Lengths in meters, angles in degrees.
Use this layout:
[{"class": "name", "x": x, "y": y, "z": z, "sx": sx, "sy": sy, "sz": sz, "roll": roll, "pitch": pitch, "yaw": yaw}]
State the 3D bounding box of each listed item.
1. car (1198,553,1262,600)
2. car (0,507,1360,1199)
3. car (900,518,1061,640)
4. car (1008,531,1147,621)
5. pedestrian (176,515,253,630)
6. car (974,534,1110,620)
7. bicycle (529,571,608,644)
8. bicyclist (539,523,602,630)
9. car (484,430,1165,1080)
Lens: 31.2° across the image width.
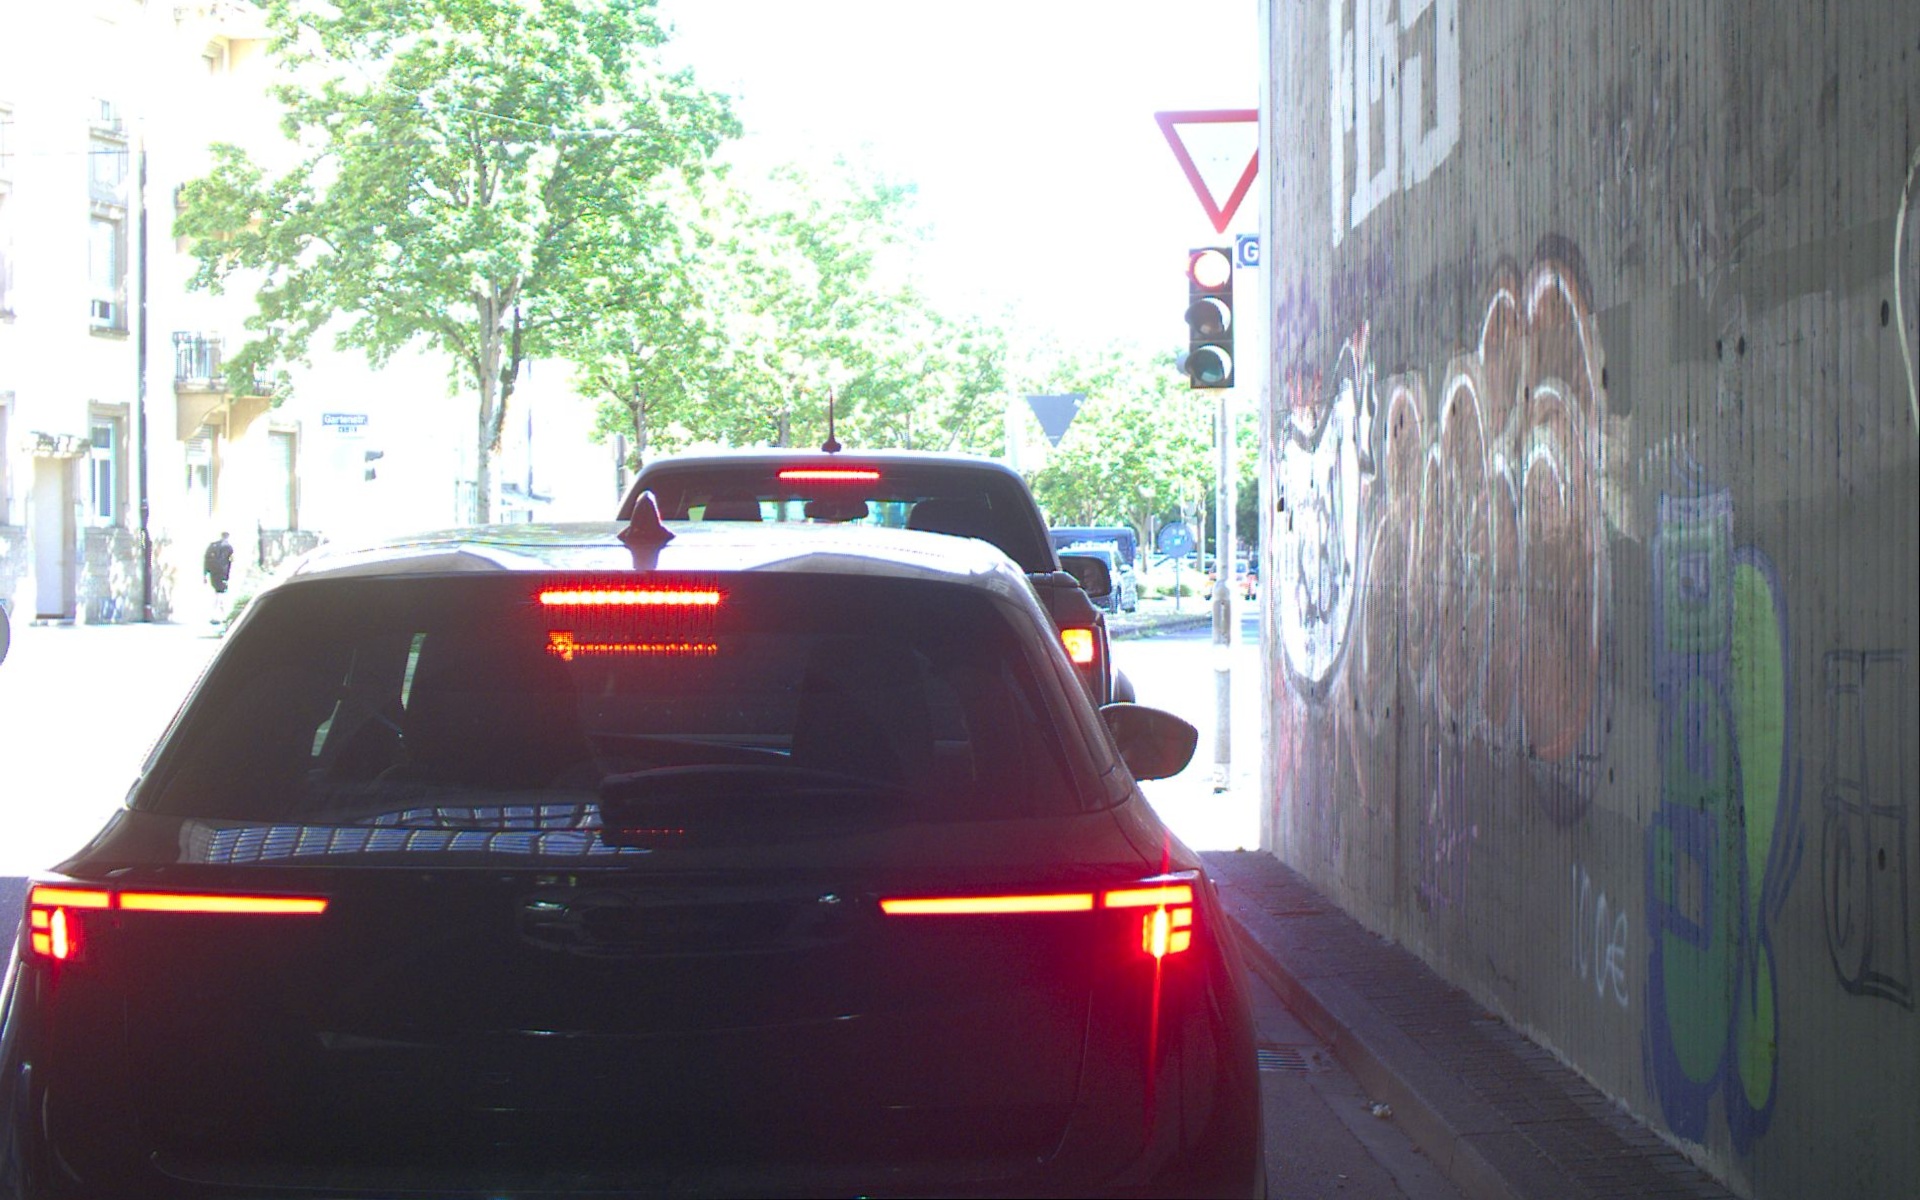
[{"class": "car", "x": 9.777, "y": -0.857, "z": 124.265, "sx": 1.994, "sy": 1.656, "sz": 3.999, "roll": 1, "pitch": 1, "yaw": 8}, {"class": "car", "x": -0.490, "y": 0.627, "z": 6.053, "sx": 1.882, "sy": 1.532, "sz": 3.964, "roll": 0, "pitch": 1, "yaw": -1}, {"class": "car", "x": 0.301, "y": -0.236, "z": 44.157, "sx": 1.968, "sy": 1.492, "sz": 3.896, "roll": 0, "pitch": -1, "yaw": 1}, {"class": "car", "x": 2.395, "y": -0.444, "z": 68.988, "sx": 2.221, "sy": 1.713, "sz": 4.458, "roll": 0, "pitch": -1, "yaw": 10}, {"class": "pedestrian", "x": -13.127, "y": -0.487, "z": 60.566, "sx": 0.992, "sy": 2.007, "sz": 1.088, "roll": 0, "pitch": 1, "yaw": 8}, {"class": "car", "x": 1.509, "y": -0.388, "z": 62.178, "sx": 1.969, "sy": 1.492, "sz": 3.895, "roll": 0, "pitch": -1, "yaw": 9}, {"class": "bicycle", "x": -5.854, "y": 0.105, "z": 51.499, "sx": 0.732, "sy": 1.064, "sz": 1.688, "roll": 1, "pitch": 1, "yaw": 9}, {"class": "bicyclist", "x": -5.836, "y": -0.351, "z": 51.524, "sx": 0.729, "sy": 1.576, "sz": 0.814, "roll": 1, "pitch": 0, "yaw": 9}, {"class": "car", "x": -0.410, "y": 0.409, "z": 11.875, "sx": 1.945, "sy": 1.853, "sz": 3.964, "roll": 0, "pitch": 1, "yaw": -1}]
